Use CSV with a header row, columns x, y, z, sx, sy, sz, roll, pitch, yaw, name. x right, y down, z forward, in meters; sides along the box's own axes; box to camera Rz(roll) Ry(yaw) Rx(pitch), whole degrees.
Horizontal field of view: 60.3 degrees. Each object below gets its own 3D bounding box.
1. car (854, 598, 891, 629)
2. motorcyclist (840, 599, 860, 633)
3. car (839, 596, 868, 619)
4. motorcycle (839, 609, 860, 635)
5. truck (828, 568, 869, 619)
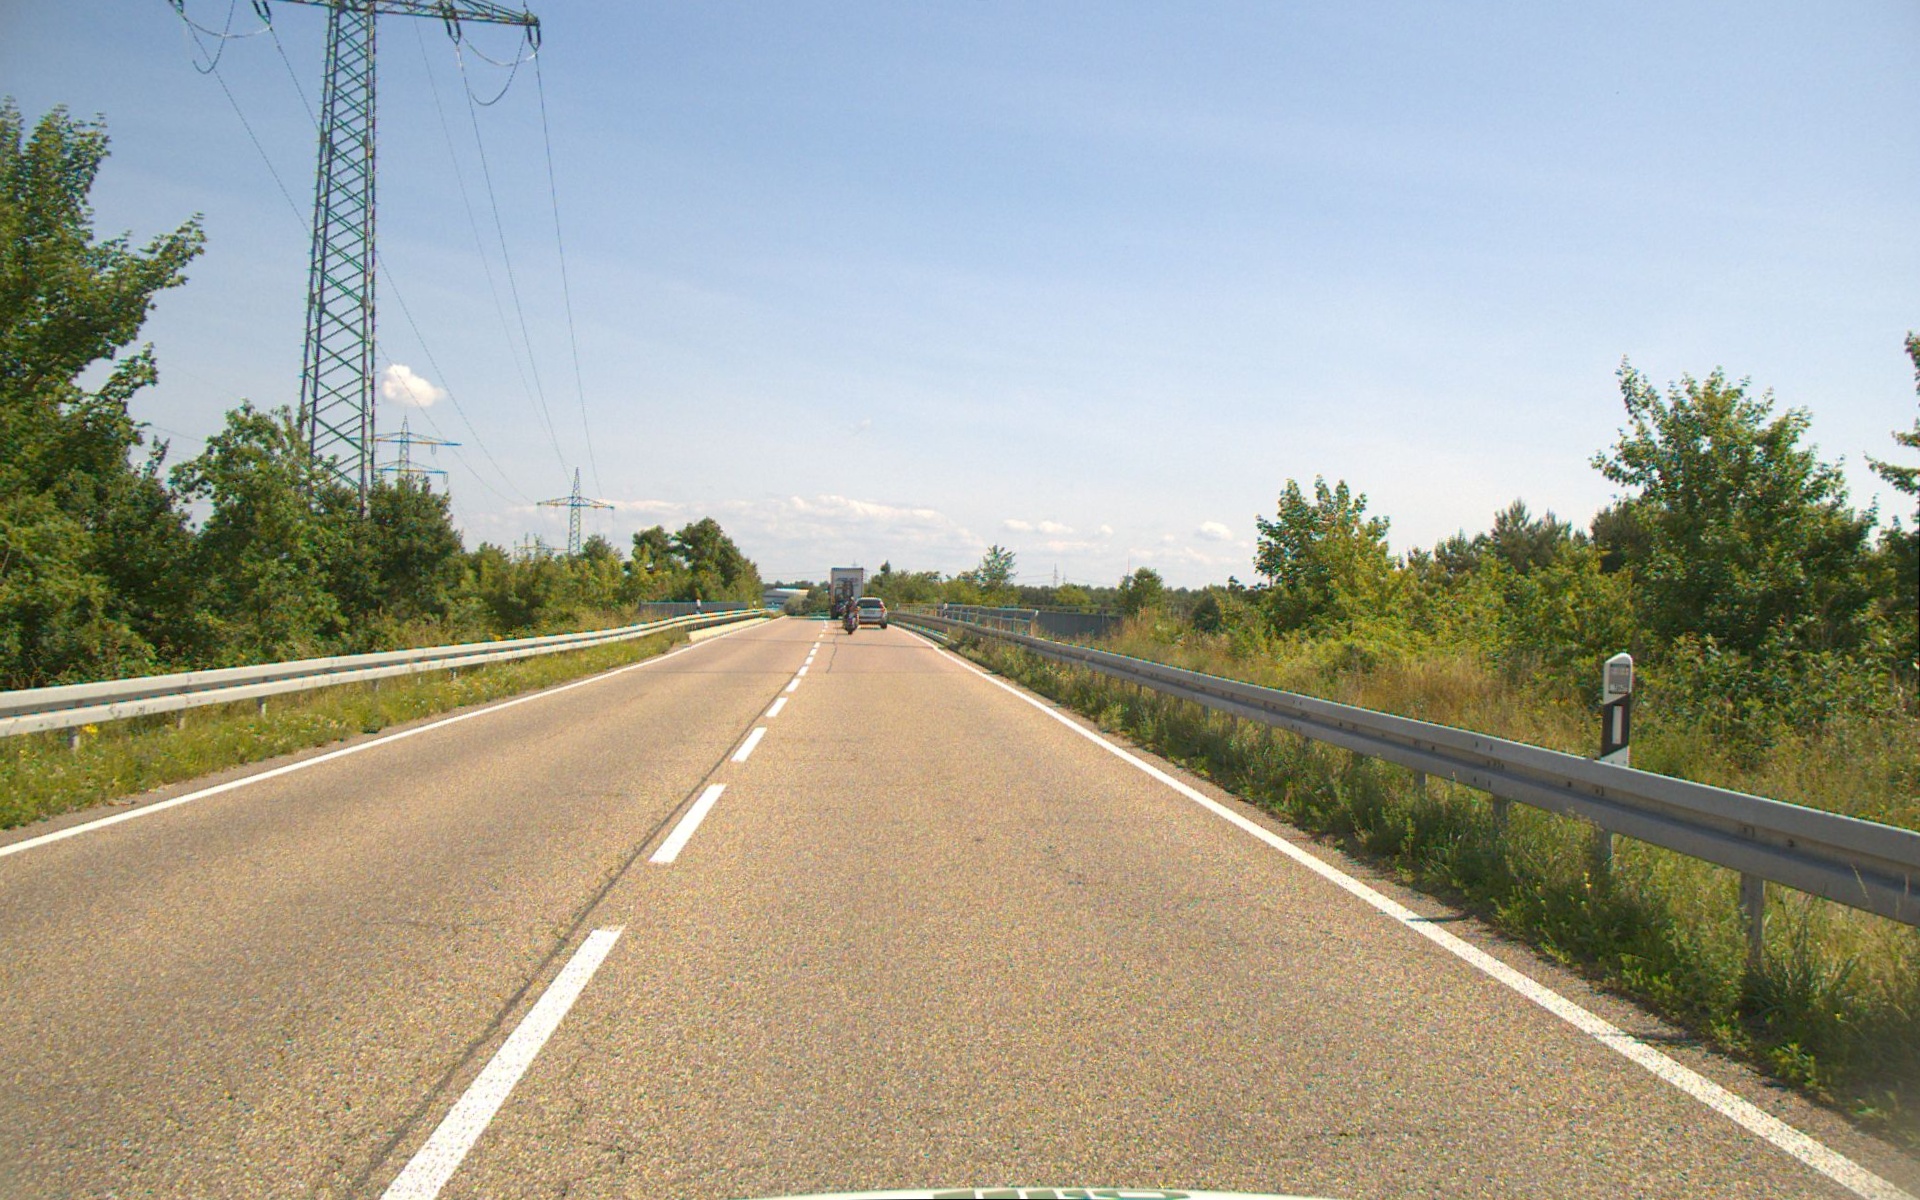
x,y,z,sx,sy,sz,roll,pitch,yaw,name
-4.483,0.677,84.407,1.789,1.477,3.997,1,0,-4,car
-4.536,0.661,68.191,0.765,1.349,0.813,1,0,-3,motorcyclist
-7.052,0.474,109.371,1.829,1.445,3.998,1,0,-3,car
-4.549,0.907,68.171,0.764,0.992,2.360,1,0,-3,motorcycle
-9.140,-0.508,135.563,3.177,4.048,9.436,1,0,-4,truck
